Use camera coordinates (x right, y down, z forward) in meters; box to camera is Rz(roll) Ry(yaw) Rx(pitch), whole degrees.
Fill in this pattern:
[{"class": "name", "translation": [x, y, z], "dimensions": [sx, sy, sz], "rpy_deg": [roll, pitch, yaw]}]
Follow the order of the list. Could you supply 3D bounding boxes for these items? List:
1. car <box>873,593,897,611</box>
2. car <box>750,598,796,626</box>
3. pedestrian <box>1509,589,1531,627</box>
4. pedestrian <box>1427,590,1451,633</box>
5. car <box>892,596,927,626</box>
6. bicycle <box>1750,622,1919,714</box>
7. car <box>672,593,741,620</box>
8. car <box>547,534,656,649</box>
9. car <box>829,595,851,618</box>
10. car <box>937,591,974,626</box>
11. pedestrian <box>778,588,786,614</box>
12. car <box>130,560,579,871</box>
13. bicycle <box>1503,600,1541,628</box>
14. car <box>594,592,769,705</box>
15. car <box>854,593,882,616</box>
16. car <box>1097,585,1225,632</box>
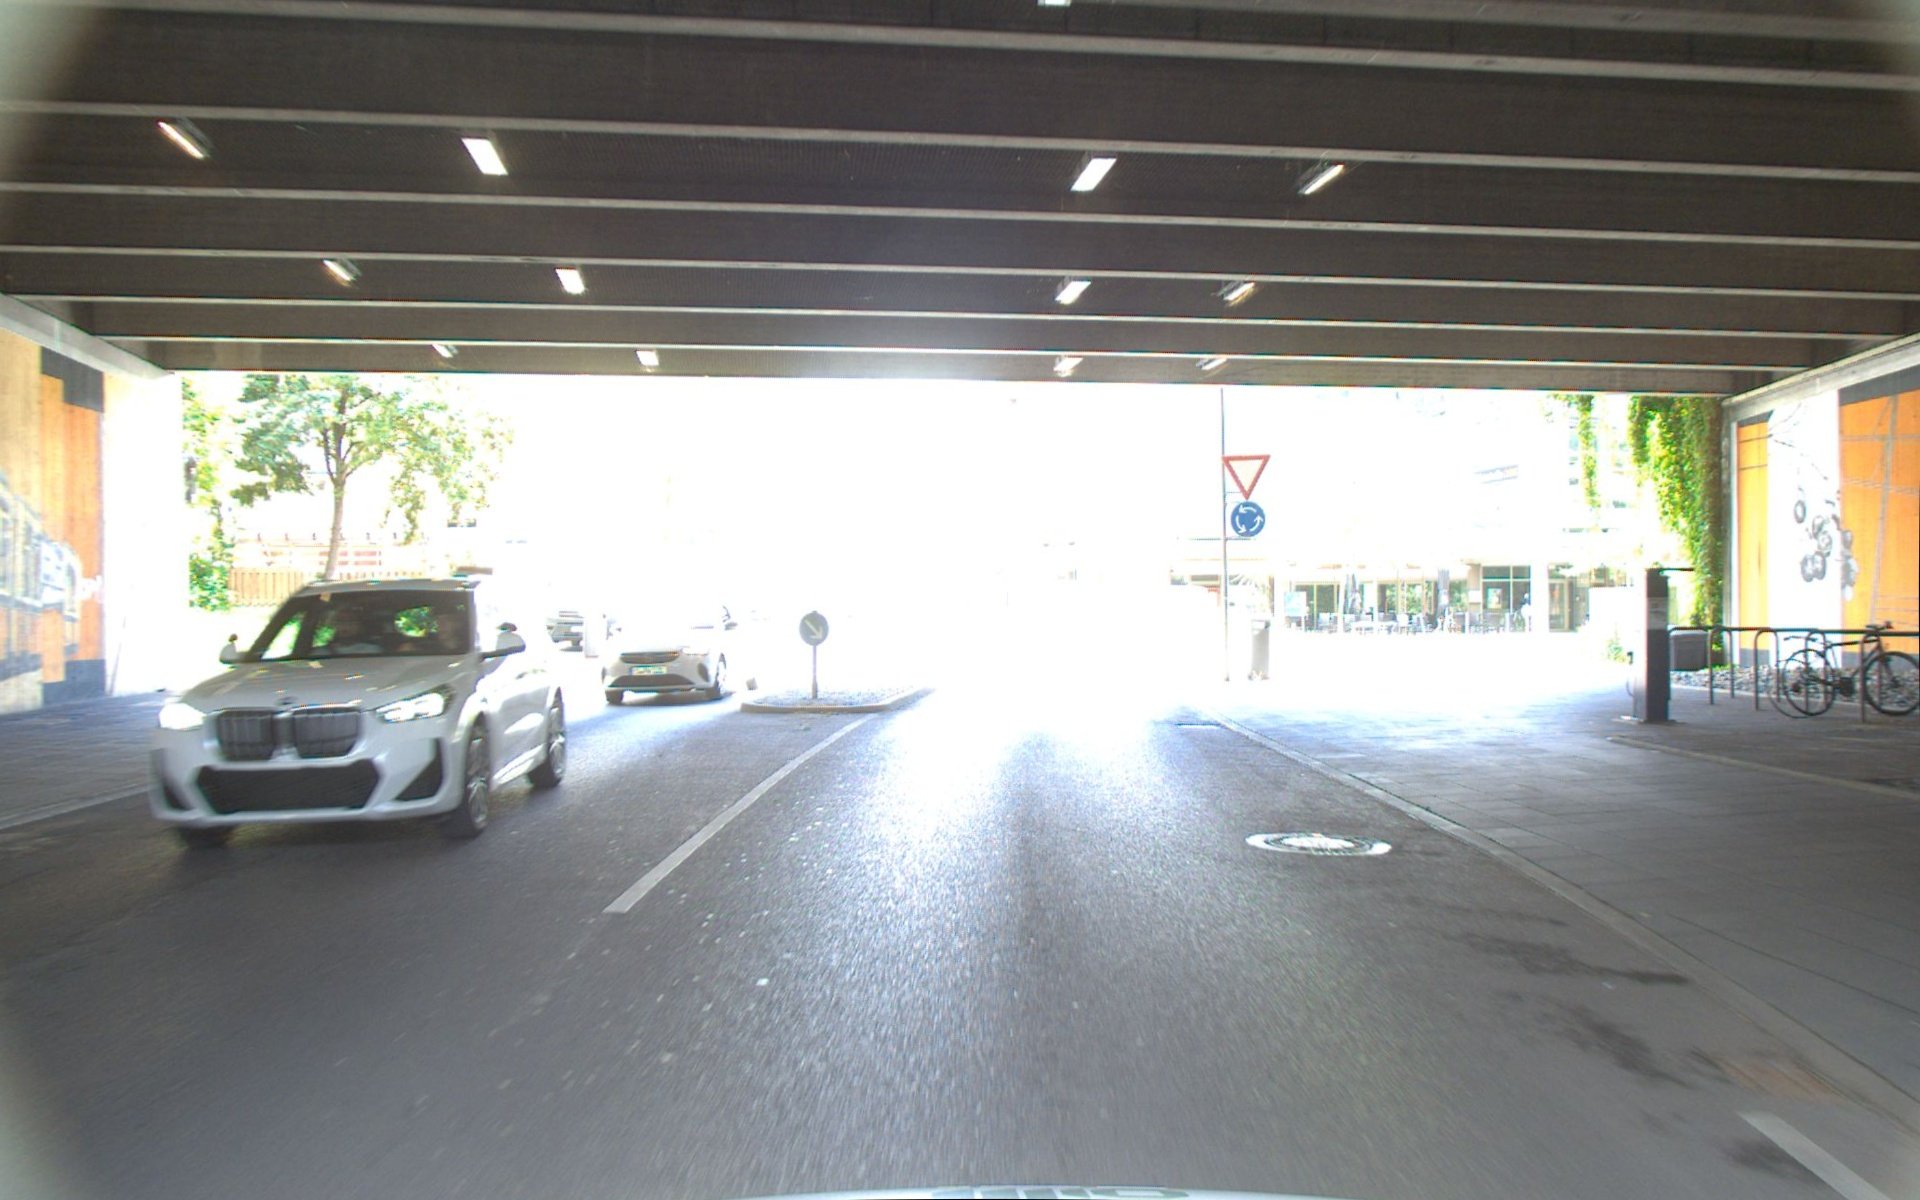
[{"class": "car", "translation": [-5.812, 0.164, 127.364], "dimensions": [1.676, 1.378, 3.996], "rpy_deg": [0, 0, -5]}, {"class": "car", "translation": [-8.941, 0.569, 79.462], "dimensions": [1.674, 1.267, 4.411], "rpy_deg": [0, 0, 0]}, {"class": "pedestrian", "translation": [24.679, 0.350, 72.871], "dimensions": [0.683, 1.704, 0.615], "rpy_deg": [0, 0, -12]}, {"class": "pedestrian", "translation": [19.246, 0.455, 66.437], "dimensions": [0.687, 1.704, 0.612], "rpy_deg": [1, 0, -25]}, {"class": "car", "translation": [-2.694, 0.586, 87.972], "dimensions": [1.787, 1.546, 4.231], "rpy_deg": [-1, 0, -2]}, {"class": "bicycle", "translation": [9.555, 0.720, 17.793], "dimensions": [1.907, 0.920, 0.506], "rpy_deg": [-1, -1, -5]}, {"class": "car", "translation": [-16.964, 0.449, 110.656], "dimensions": [4.348, 1.807, 1.991], "rpy_deg": [0, 0, -17]}, {"class": "car", "translation": [-8.926, -0.199, 41.681], "dimensions": [1.929, 2.652, 5.924], "rpy_deg": [1, 0, -5]}, {"class": "car", "translation": [-9.400, 0.496, 129.713], "dimensions": [1.676, 1.742, 3.996], "rpy_deg": [0, 0, -5]}, {"class": "car", "translation": [-0.208, 0.459, 89.171], "dimensions": [1.786, 1.761, 4.234], "rpy_deg": [-1, 0, 2]}, {"class": "pedestrian", "translation": [-11.796, 0.075, 109.586], "dimensions": [0.540, 1.715, 0.516], "rpy_deg": [0, 0, -4]}, {"class": "car", "translation": [-3.863, 0.631, 11.367], "dimensions": [1.789, 1.682, 4.210], "rpy_deg": [-1, 0, -5]}, {"class": "bicycle", "translation": [24.710, 0.602, 72.757], "dimensions": [1.510, 1.188, 0.495], "rpy_deg": [1, -1, 32]}, {"class": "car", "translation": [-3.994, 0.650, 24.327], "dimensions": [1.636, 1.473, 3.854], "rpy_deg": [-1, 0, 4]}, {"class": "car", "translation": [-5.828, 0.256, 104.200], "dimensions": [1.676, 1.378, 3.996], "rpy_deg": [0, 0, -5]}, {"class": "car", "translation": [7.656, 0.301, 63.254], "dimensions": [4.608, 1.717, 1.989], "rpy_deg": [0, 0, 42]}]
